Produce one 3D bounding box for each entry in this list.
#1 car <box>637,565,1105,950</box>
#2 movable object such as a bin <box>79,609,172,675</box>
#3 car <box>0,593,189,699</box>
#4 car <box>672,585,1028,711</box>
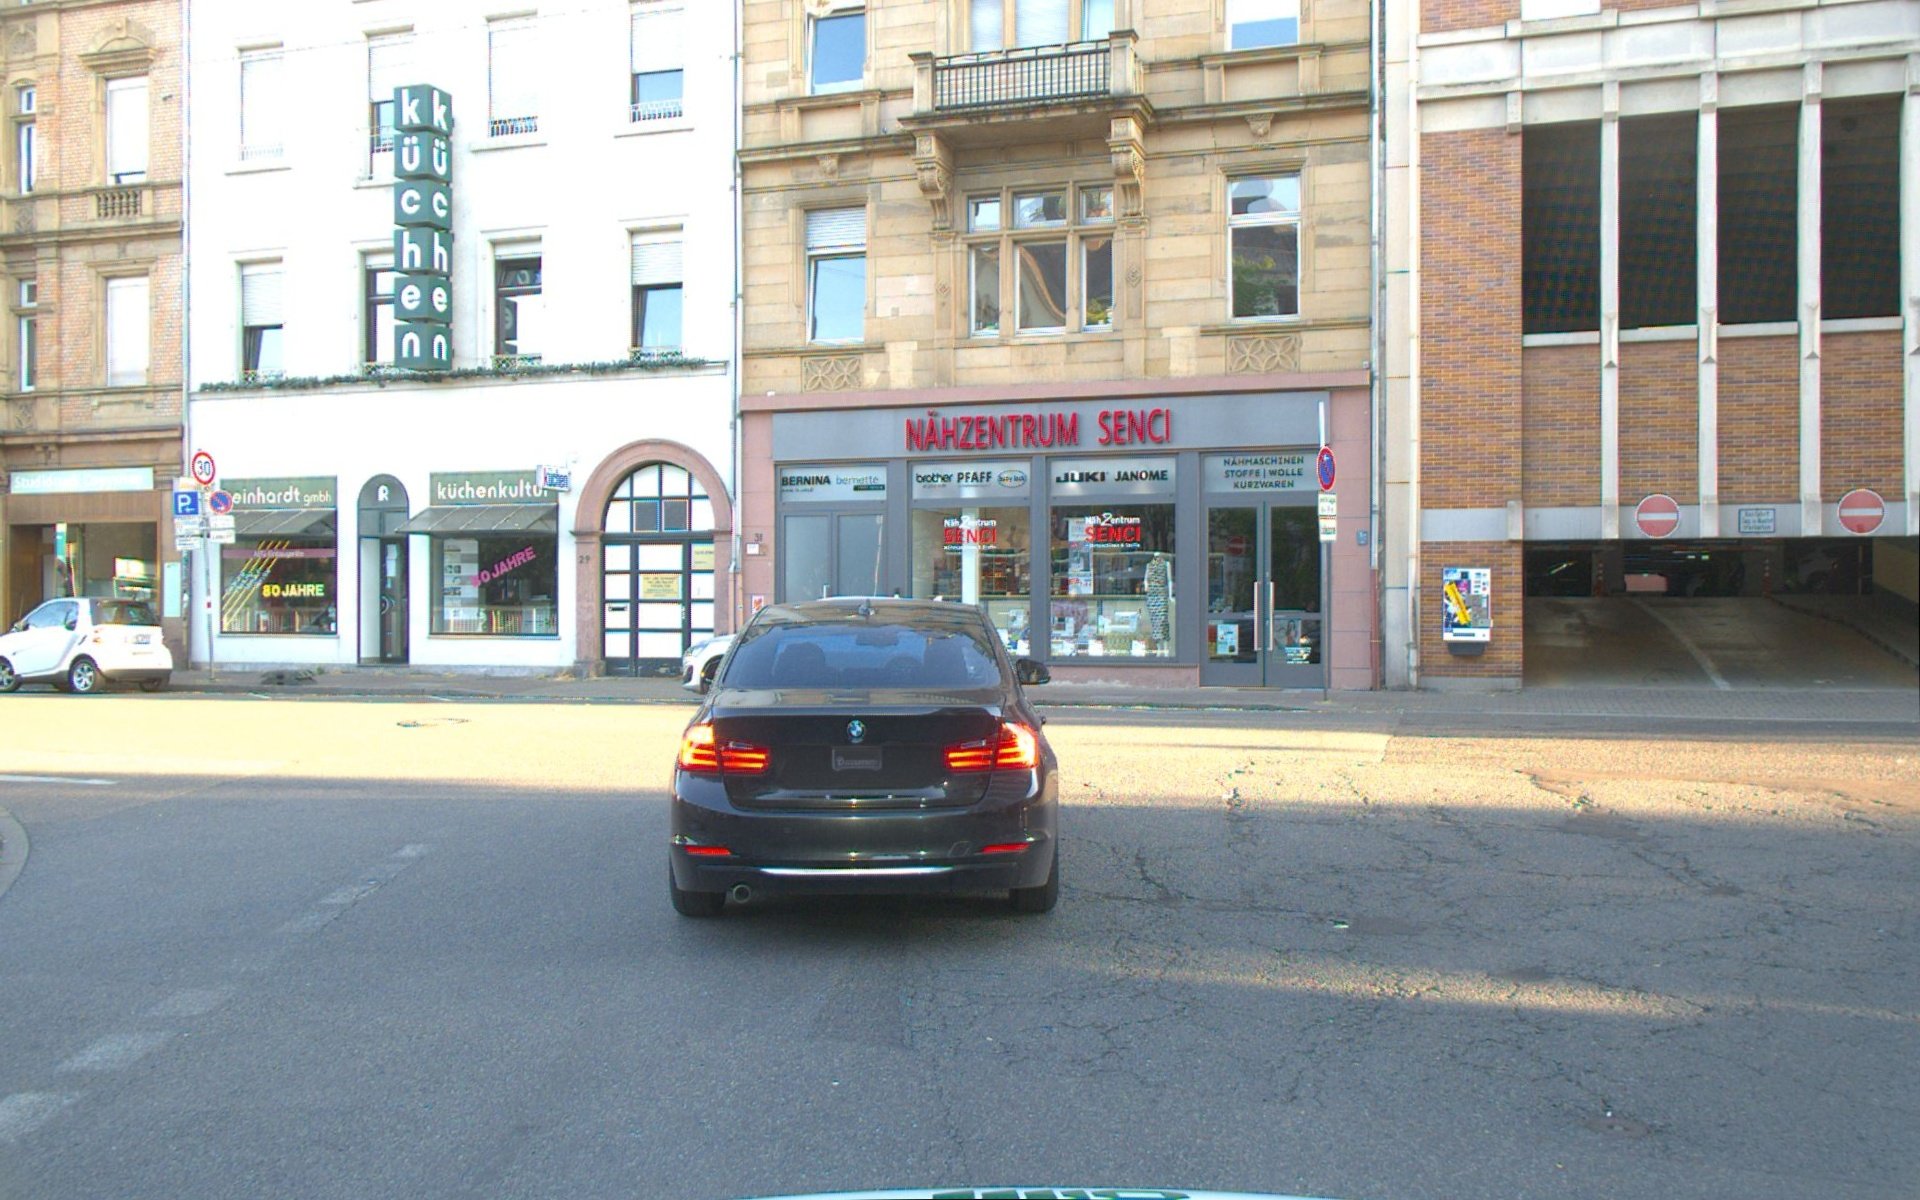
[{"bbox_3d":[-0.337,0.653,8.649,1.850,1.518,4.204,0,-1,0],"label":"car"},{"bbox_3d":[-15.770,0.785,31.271,1.364,1.207,0.869,0,0,18],"label":"movable object such as a bin"},{"bbox_3d":[-15.169,0.729,27.813,3.903,1.612,1.706,1,0,19],"label":"car"},{"bbox_3d":[-1.516,0.626,23.230,4.568,1.562,2.001,1,0,17],"label":"car"}]
